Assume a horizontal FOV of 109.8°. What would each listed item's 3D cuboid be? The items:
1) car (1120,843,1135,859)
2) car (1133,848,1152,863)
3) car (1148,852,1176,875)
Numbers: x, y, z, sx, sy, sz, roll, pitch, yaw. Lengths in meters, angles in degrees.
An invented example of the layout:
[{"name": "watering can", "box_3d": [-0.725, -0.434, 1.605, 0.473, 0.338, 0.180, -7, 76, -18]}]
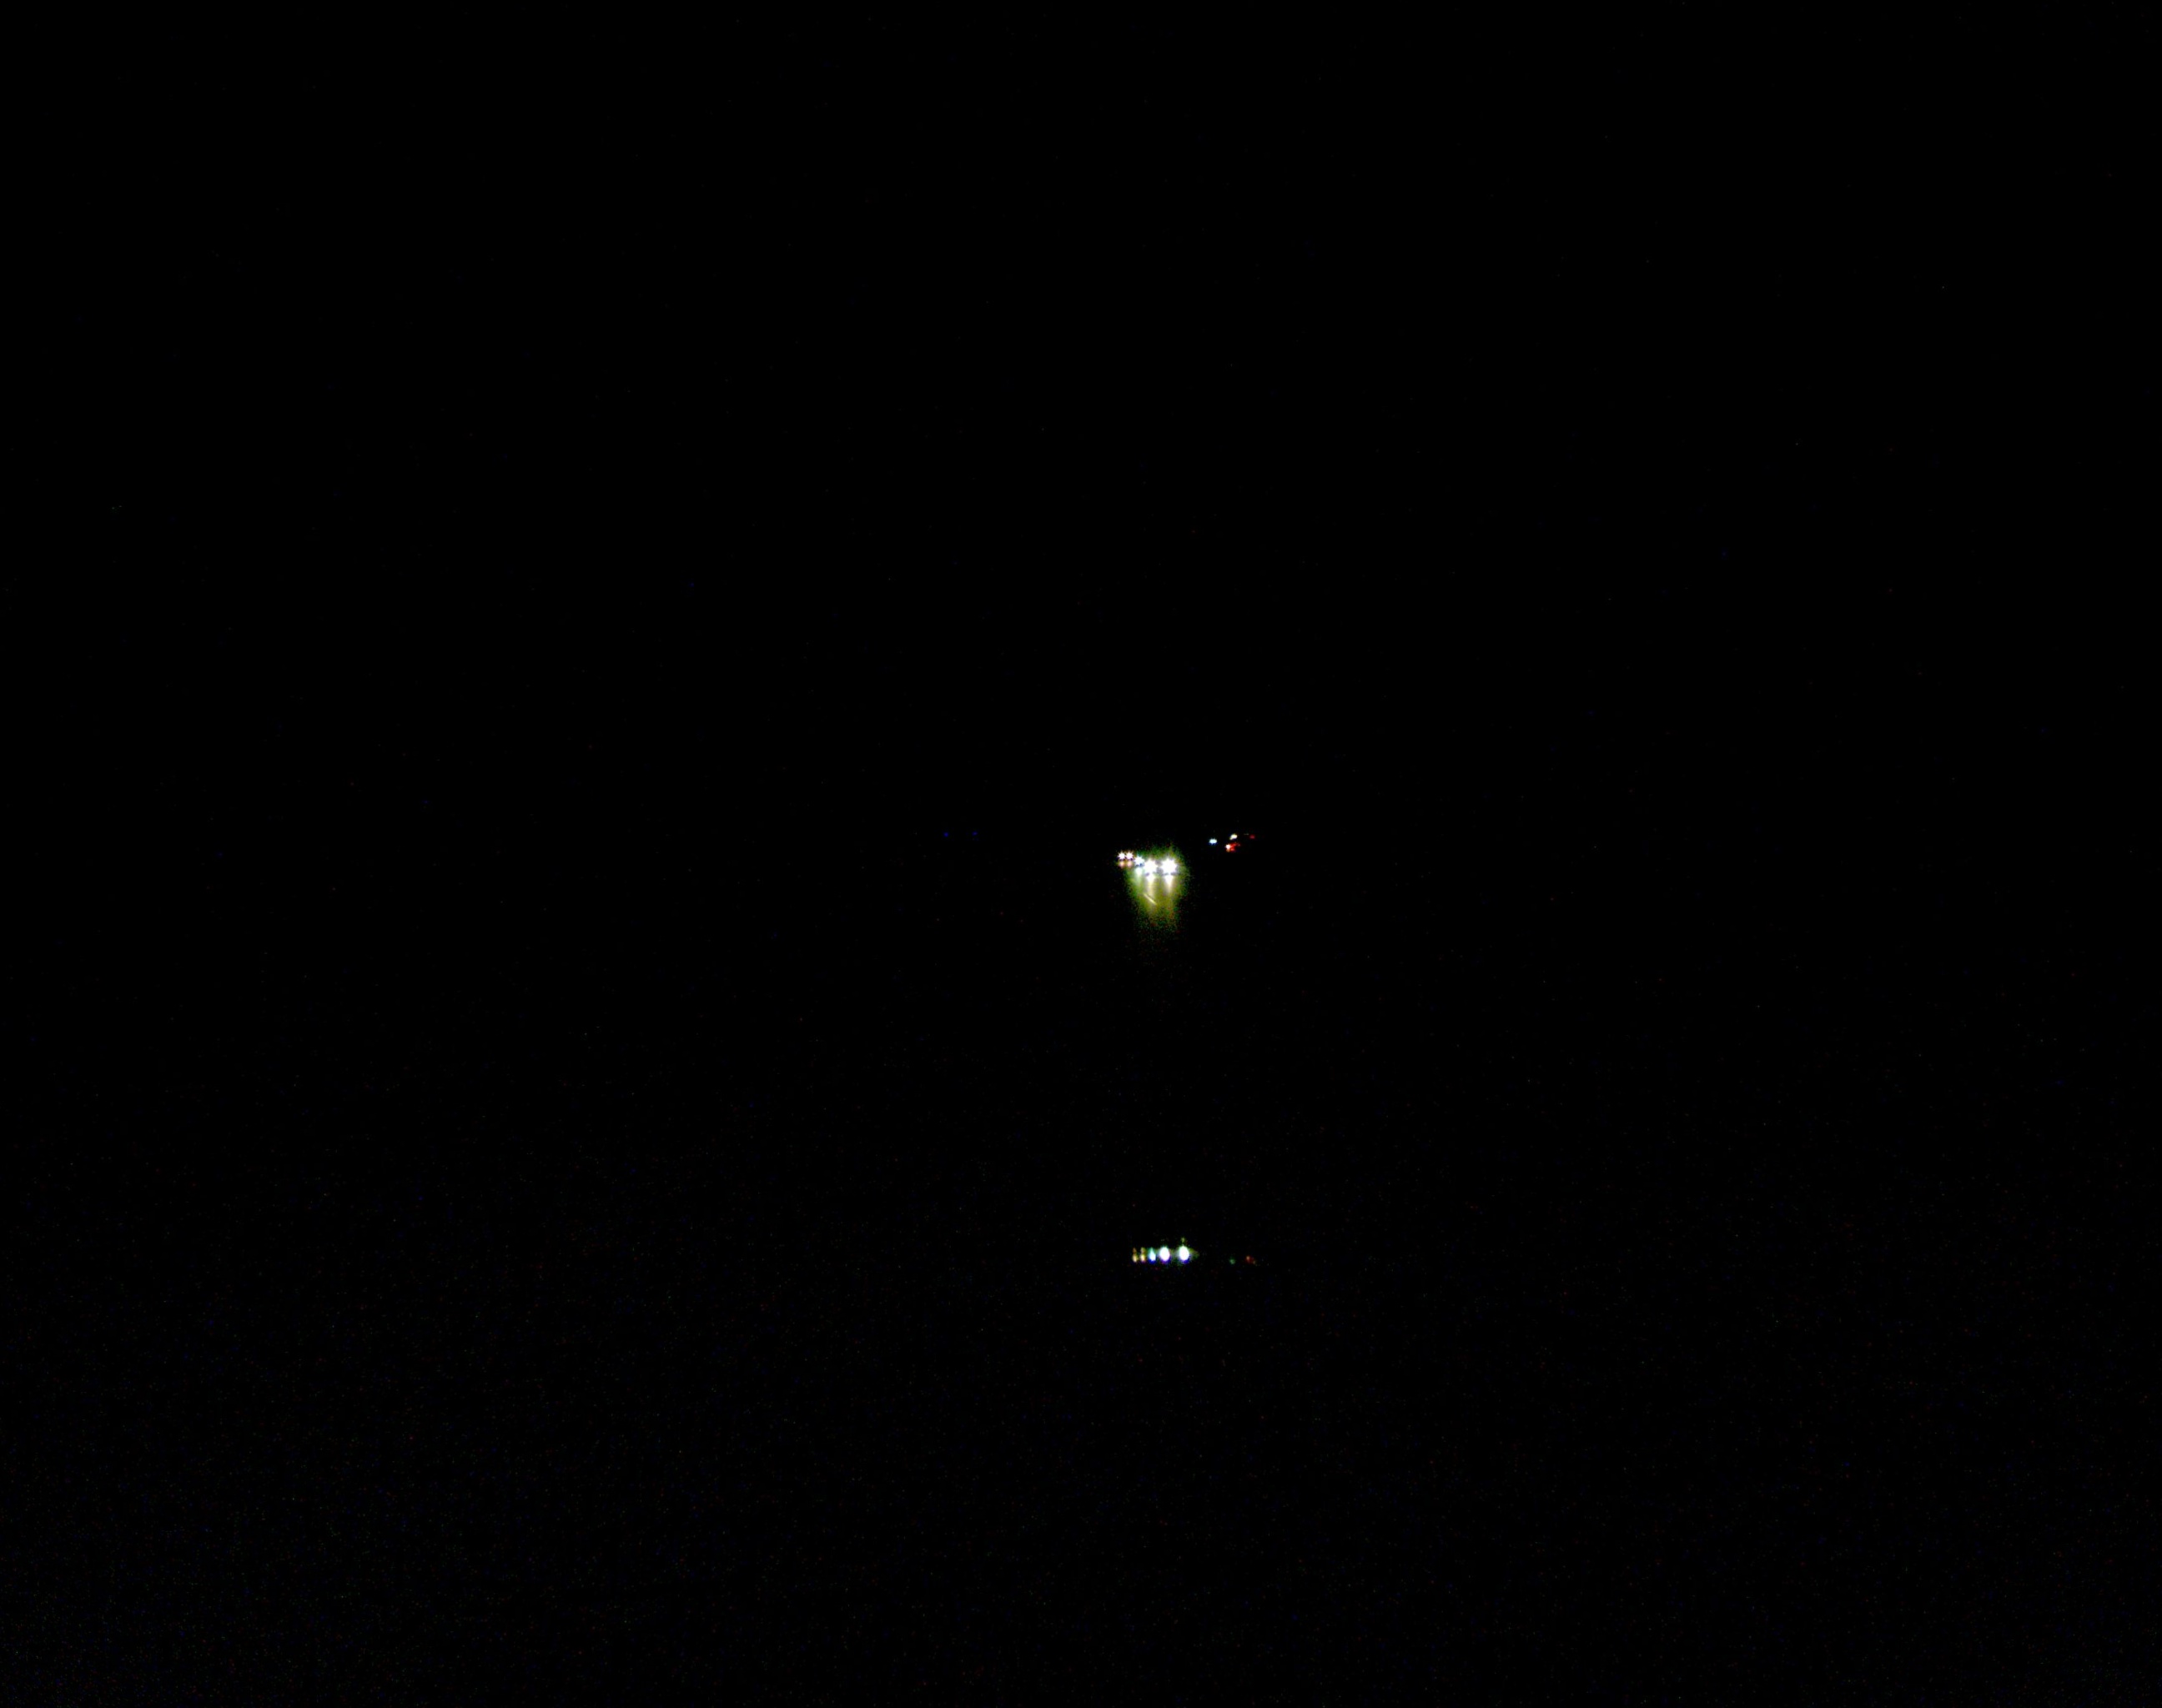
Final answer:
[{"name": "car", "box_3d": [9.350, -0.713, 152.944, 2.532, 2.889, 6.228, -2, 2, 8]}, {"name": "car", "box_3d": [7.199, 0.188, 88.597, 1.997, 1.456, 4.000, -2, 2, 7]}, {"name": "car", "box_3d": [5.740, 0.636, 53.801, 1.832, 1.404, 4.000, -2, 2, 6]}]
